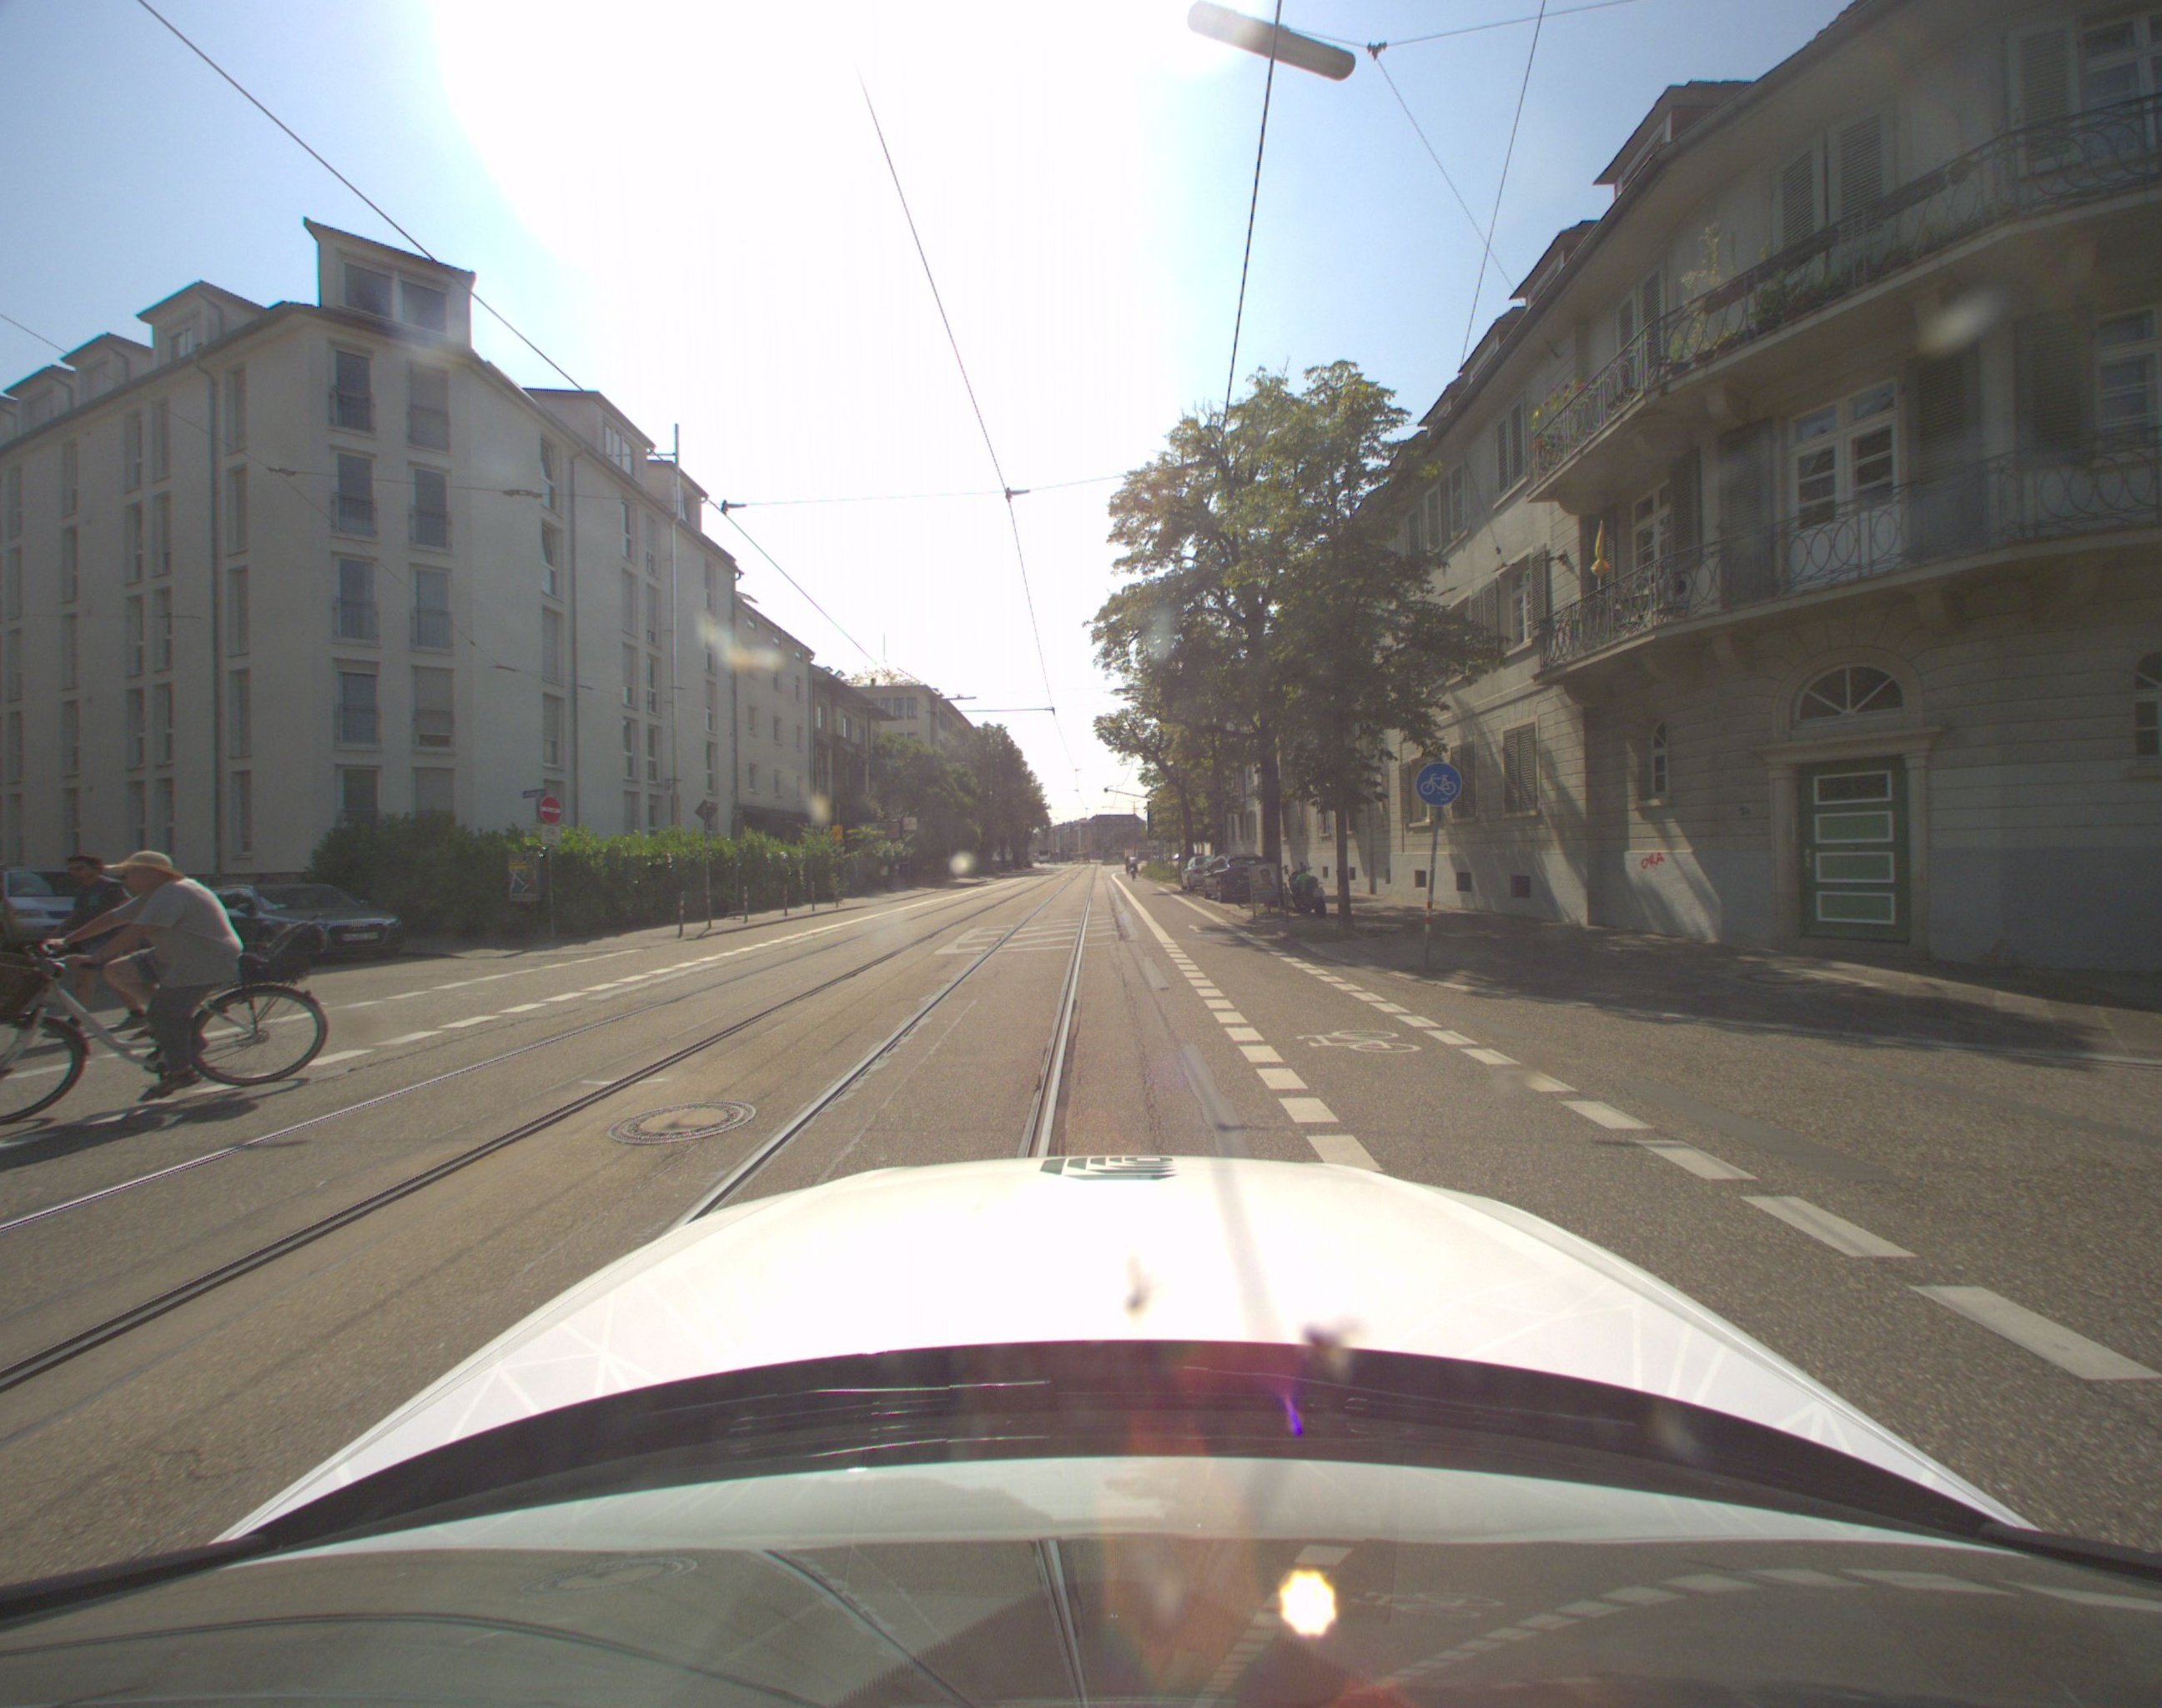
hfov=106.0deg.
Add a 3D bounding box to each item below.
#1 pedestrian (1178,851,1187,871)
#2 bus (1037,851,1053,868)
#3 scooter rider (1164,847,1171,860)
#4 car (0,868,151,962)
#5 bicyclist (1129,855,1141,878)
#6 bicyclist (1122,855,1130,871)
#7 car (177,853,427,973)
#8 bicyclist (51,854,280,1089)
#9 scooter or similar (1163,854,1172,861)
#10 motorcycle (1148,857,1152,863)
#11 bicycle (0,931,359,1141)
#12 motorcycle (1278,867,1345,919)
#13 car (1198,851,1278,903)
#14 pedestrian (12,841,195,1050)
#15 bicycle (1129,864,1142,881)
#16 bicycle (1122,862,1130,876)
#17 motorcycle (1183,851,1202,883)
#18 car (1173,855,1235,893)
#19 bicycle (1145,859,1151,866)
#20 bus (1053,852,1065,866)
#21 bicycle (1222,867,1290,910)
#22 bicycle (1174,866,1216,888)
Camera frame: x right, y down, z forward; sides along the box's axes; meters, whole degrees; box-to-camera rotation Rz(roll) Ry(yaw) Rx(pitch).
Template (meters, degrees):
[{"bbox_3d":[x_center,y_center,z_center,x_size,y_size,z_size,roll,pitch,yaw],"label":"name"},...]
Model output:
[{"bbox_3d":[9.097,0.632,72.911,0.689,1.732,0.580,-1,0,3],"label":"pedestrian"},{"bbox_3d":[-8.078,1.276,182.958,2.948,3.775,10.596,0,-1,1],"label":"bus"},{"bbox_3d":[11.469,-0.049,108.281,0.756,1.775,0.557,-1,-1,17],"label":"scooter rider"},{"bbox_3d":[-24.017,1.339,19.024,3.951,1.988,1.901,-1,-1,24],"label":"car"},{"bbox_3d":[3.461,0.798,52.178,0.742,1.411,0.962,-1,0,1],"label":"bicyclist"},{"bbox_3d":[3.829,0.742,69.399,0.601,1.335,0.659,-1,-1,-1],"label":"bicyclist"},{"bbox_3d":[-14.517,1.009,15.200,3.952,1.988,1.901,-1,-1,22],"label":"car"},{"bbox_3d":[-6.211,0.727,5.580,0.649,1.428,0.980,-2,0,43],"label":"bicyclist"},{"bbox_3d":[11.490,0.467,108.310,0.766,0.926,1.628,-1,0,18],"label":"scooter or similar"},{"bbox_3d":[16.439,1.401,193.187,0.600,1.210,2.261,-1,0,12],"label":"motorcycle"},{"bbox_3d":[-6.238,1.161,5.532,0.634,1.077,1.927,-2,0,43],"label":"bicycle"},{"bbox_3d":[5.392,0.881,19.260,0.824,1.111,2.496,-1,0,-1],"label":"motorcycle"},{"bbox_3d":[5.070,0.712,26.808,1.658,1.507,4.432,-2,0,-1],"label":"car"},{"bbox_3d":[-10.009,0.886,8.382,0.652,2.013,0.975,-2,0,4],"label":"pedestrian"},{"bbox_3d":[3.468,1.159,51.991,0.736,1.049,2.233,-1,0,1],"label":"bicycle"},{"bbox_3d":[3.842,1.288,69.371,0.602,1.163,1.810,-1,0,0],"label":"bicycle"},{"bbox_3d":[5.803,0.654,42.142,0.880,1.553,2.418,-2,-1,9],"label":"motorcycle"},{"bbox_3d":[5.095,0.795,34.339,1.777,1.450,4.749,-2,0,-1],"label":"car"},{"bbox_3d":[12.504,1.583,152.251,0.440,1.117,1.455,-2,-1,37],"label":"bicycle"},{"bbox_3d":[-6.113,1.461,228.322,2.699,3.727,10.425,0,-1,3],"label":"bus"},{"bbox_3d":[4.816,0.940,22.482,1.749,1.123,0.656,-1,0,0],"label":"bicycle"},{"bbox_3d":[5.404,1.082,38.538,1.914,0.952,0.721,-1,-1,4],"label":"bicycle"}]
